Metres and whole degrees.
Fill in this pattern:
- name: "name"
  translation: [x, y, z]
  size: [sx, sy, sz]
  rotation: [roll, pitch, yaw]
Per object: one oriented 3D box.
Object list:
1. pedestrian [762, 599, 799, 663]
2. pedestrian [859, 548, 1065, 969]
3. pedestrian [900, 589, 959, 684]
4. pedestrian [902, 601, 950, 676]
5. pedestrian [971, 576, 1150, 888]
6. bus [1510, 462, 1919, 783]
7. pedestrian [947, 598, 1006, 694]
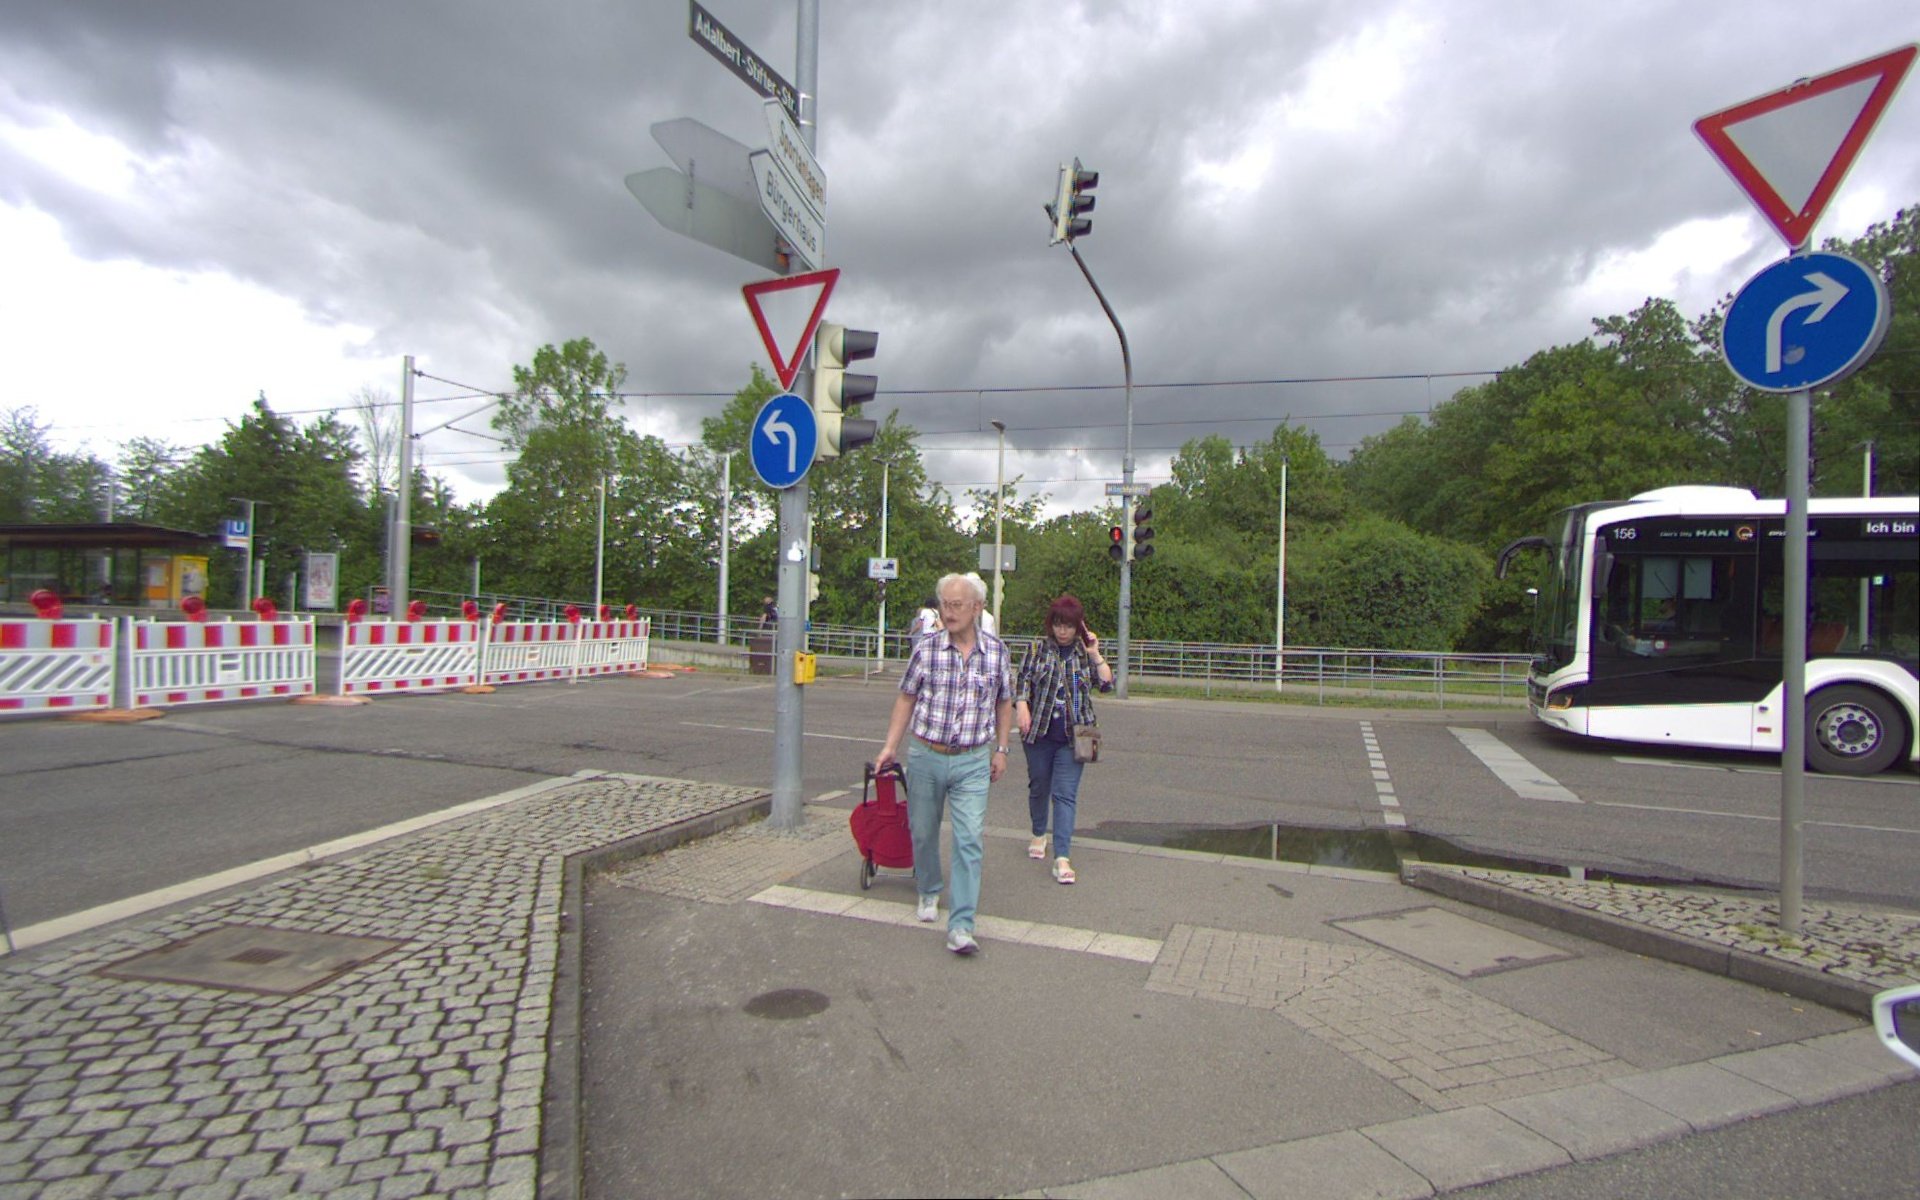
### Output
- name: "pedestrian"
  translation: [-5.135, 0.869, 28.656]
  size: [0.714, 1.771, 0.950]
  rotation: [2, -1, -28]
- name: "pedestrian"
  translation: [-0.021, 0.629, 4.360]
  size: [0.687, 1.655, 0.720]
  rotation: [2, 1, -13]
- name: "pedestrian"
  translation: [-0.581, 0.701, 19.397]
  size: [0.709, 1.771, 0.956]
  rotation: [2, -1, 28]
- name: "pedestrian"
  translation: [-0.825, 0.932, 24.601]
  size: [0.938, 1.771, 0.723]
  rotation: [2, -1, 16]
- name: "pedestrian"
  translation: [0.540, 0.685, 5.572]
  size: [0.682, 1.587, 0.729]
  rotation: [2, -1, -21]
- name: "bus"
  translation: [12.685, 0.327, 10.380]
  size: [11.963, 3.245, 2.674]
  rotation: [2, -1, 23]
- name: "pedestrian"
  translation: [0.324, 0.869, 19.235]
  size: [0.709, 1.771, 0.956]
  rotation: [2, -1, 28]
